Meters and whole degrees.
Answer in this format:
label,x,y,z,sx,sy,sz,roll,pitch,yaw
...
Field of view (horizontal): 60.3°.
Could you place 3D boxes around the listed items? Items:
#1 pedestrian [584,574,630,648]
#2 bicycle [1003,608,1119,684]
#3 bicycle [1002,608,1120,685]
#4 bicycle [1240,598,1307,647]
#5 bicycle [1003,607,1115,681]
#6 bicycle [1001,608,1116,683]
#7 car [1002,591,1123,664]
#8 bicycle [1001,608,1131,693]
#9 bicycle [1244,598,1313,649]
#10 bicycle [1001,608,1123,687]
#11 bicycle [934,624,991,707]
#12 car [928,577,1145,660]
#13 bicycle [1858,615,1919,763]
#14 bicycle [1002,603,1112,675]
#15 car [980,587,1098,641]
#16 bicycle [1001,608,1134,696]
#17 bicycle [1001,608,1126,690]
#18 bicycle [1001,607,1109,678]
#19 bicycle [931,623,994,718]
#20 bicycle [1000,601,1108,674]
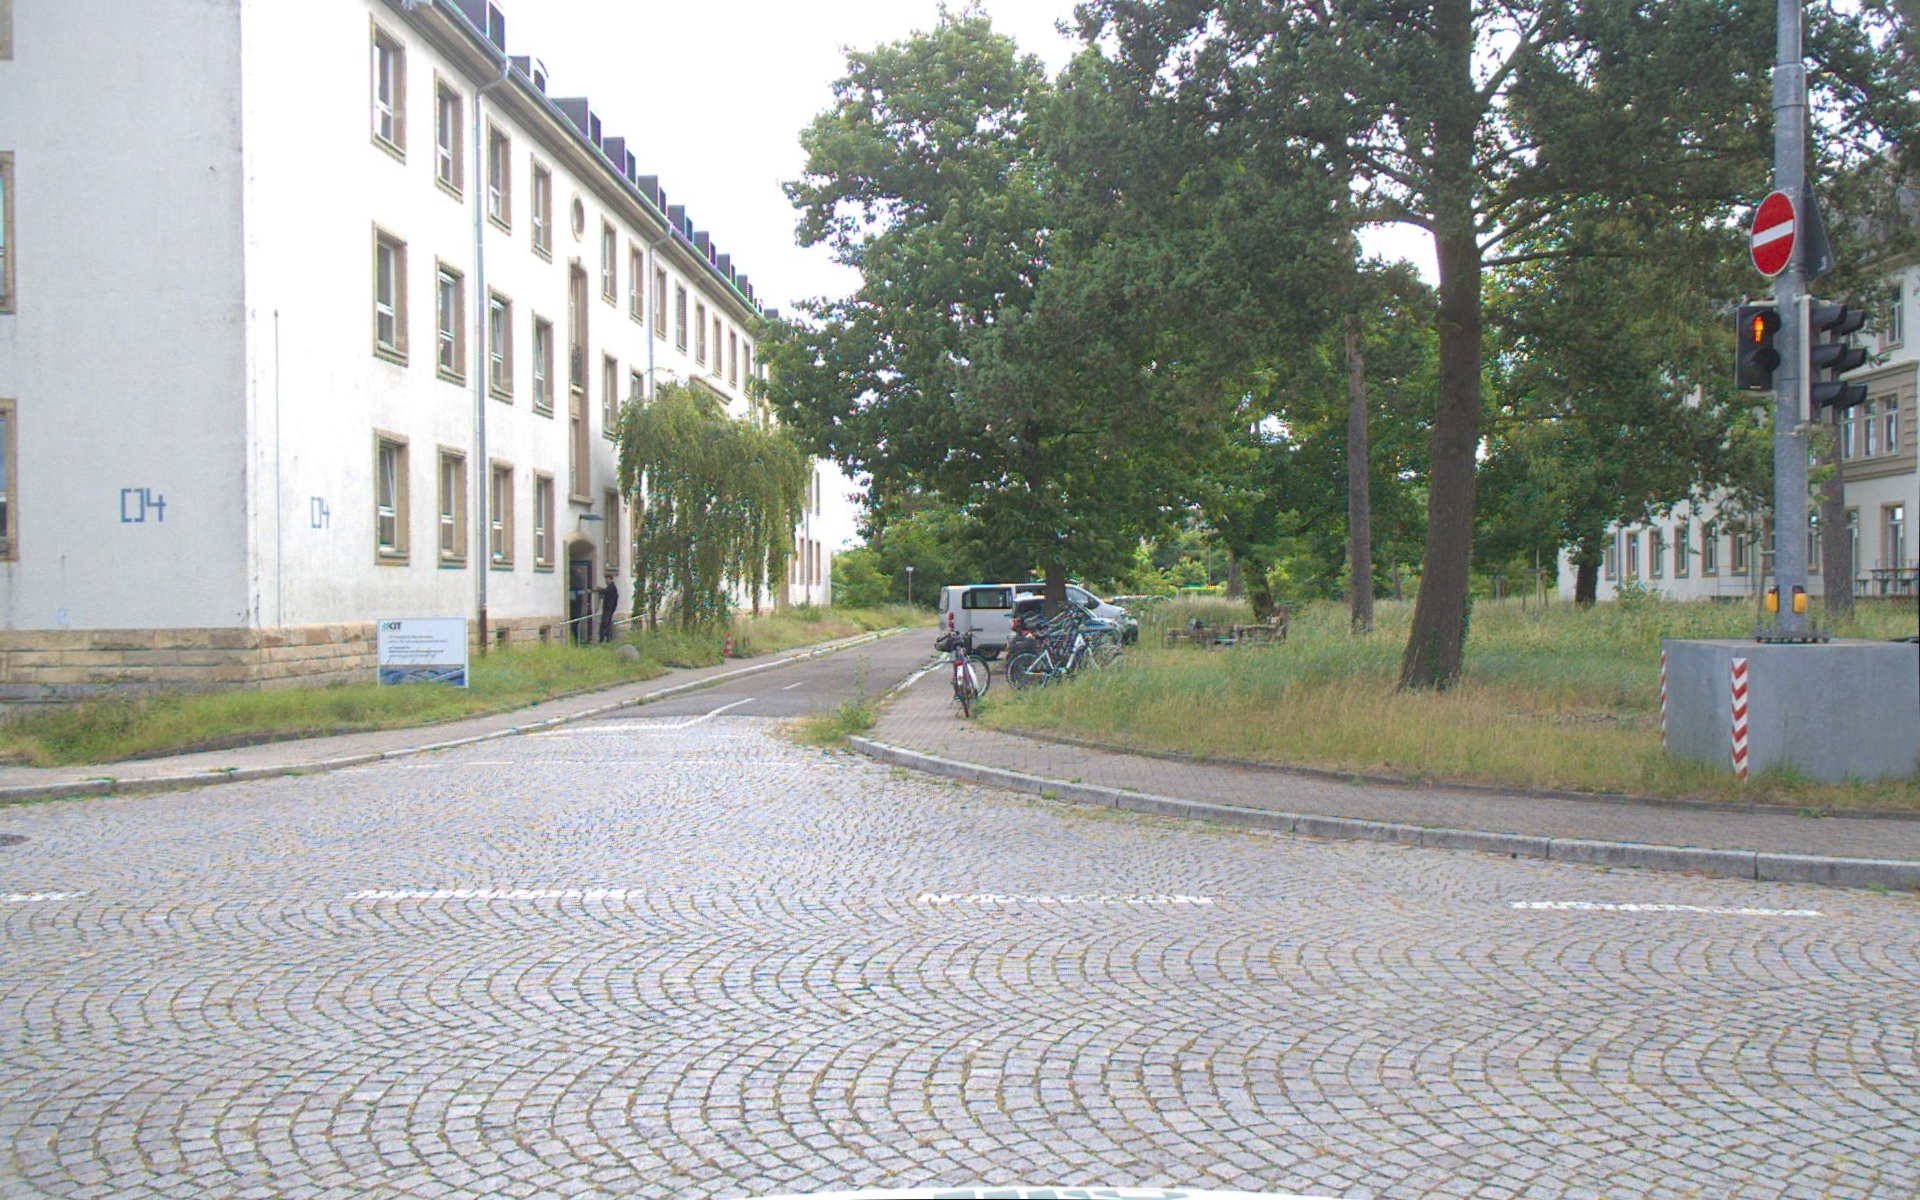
label,x,y,z,sx,sy,sz,roll,pitch,yaw
pedestrian,-8.736,0.268,40.939,0.819,1.812,0.942,-1,0,8
bicycle,1.710,0.770,28.107,1.941,1.269,0.624,0,0,1
bicycle,1.677,0.768,27.583,1.941,1.269,0.624,0,0,1
bicycle,7.407,0.529,39.087,1.516,1.144,0.401,-1,0,4
bicycle,1.730,0.773,29.186,1.941,1.269,0.624,0,0,1
bicycle,1.685,0.771,28.503,1.941,1.269,0.624,0,0,1
car,2.406,0.639,39.144,2.788,1.585,1.472,-1,1,2
bicycle,1.603,0.761,25.164,1.941,1.269,0.624,0,0,1
bicycle,7.289,0.528,37.859,1.516,1.144,0.401,-1,0,4
bicycle,1.649,0.766,26.950,1.941,1.269,0.624,0,0,1
bicycle,0.052,0.895,23.180,0.609,1.101,1.679,0,0,7
car,1.934,0.463,42.646,5.211,1.949,2.143,-1,0,-12
bicycle,7.104,0.648,11.847,0.568,0.987,1.679,-2,2,7
bicycle,1.726,0.694,29.701,1.941,1.269,0.624,0,0,1
car,2.668,0.479,56.521,3.948,1.748,1.681,-1,0,1
bicycle,1.581,0.760,24.535,1.941,1.269,0.624,0,0,1
bicycle,1.621,0.764,26.091,1.941,1.269,0.624,0,0,1
bicycle,1.726,0.776,30.195,1.941,1.269,0.624,0,0,1
bicycle,0.050,0.874,21.223,0.609,1.133,1.990,0,0,5
bicycle,1.749,0.700,30.855,1.941,1.269,0.624,-2,0,1
